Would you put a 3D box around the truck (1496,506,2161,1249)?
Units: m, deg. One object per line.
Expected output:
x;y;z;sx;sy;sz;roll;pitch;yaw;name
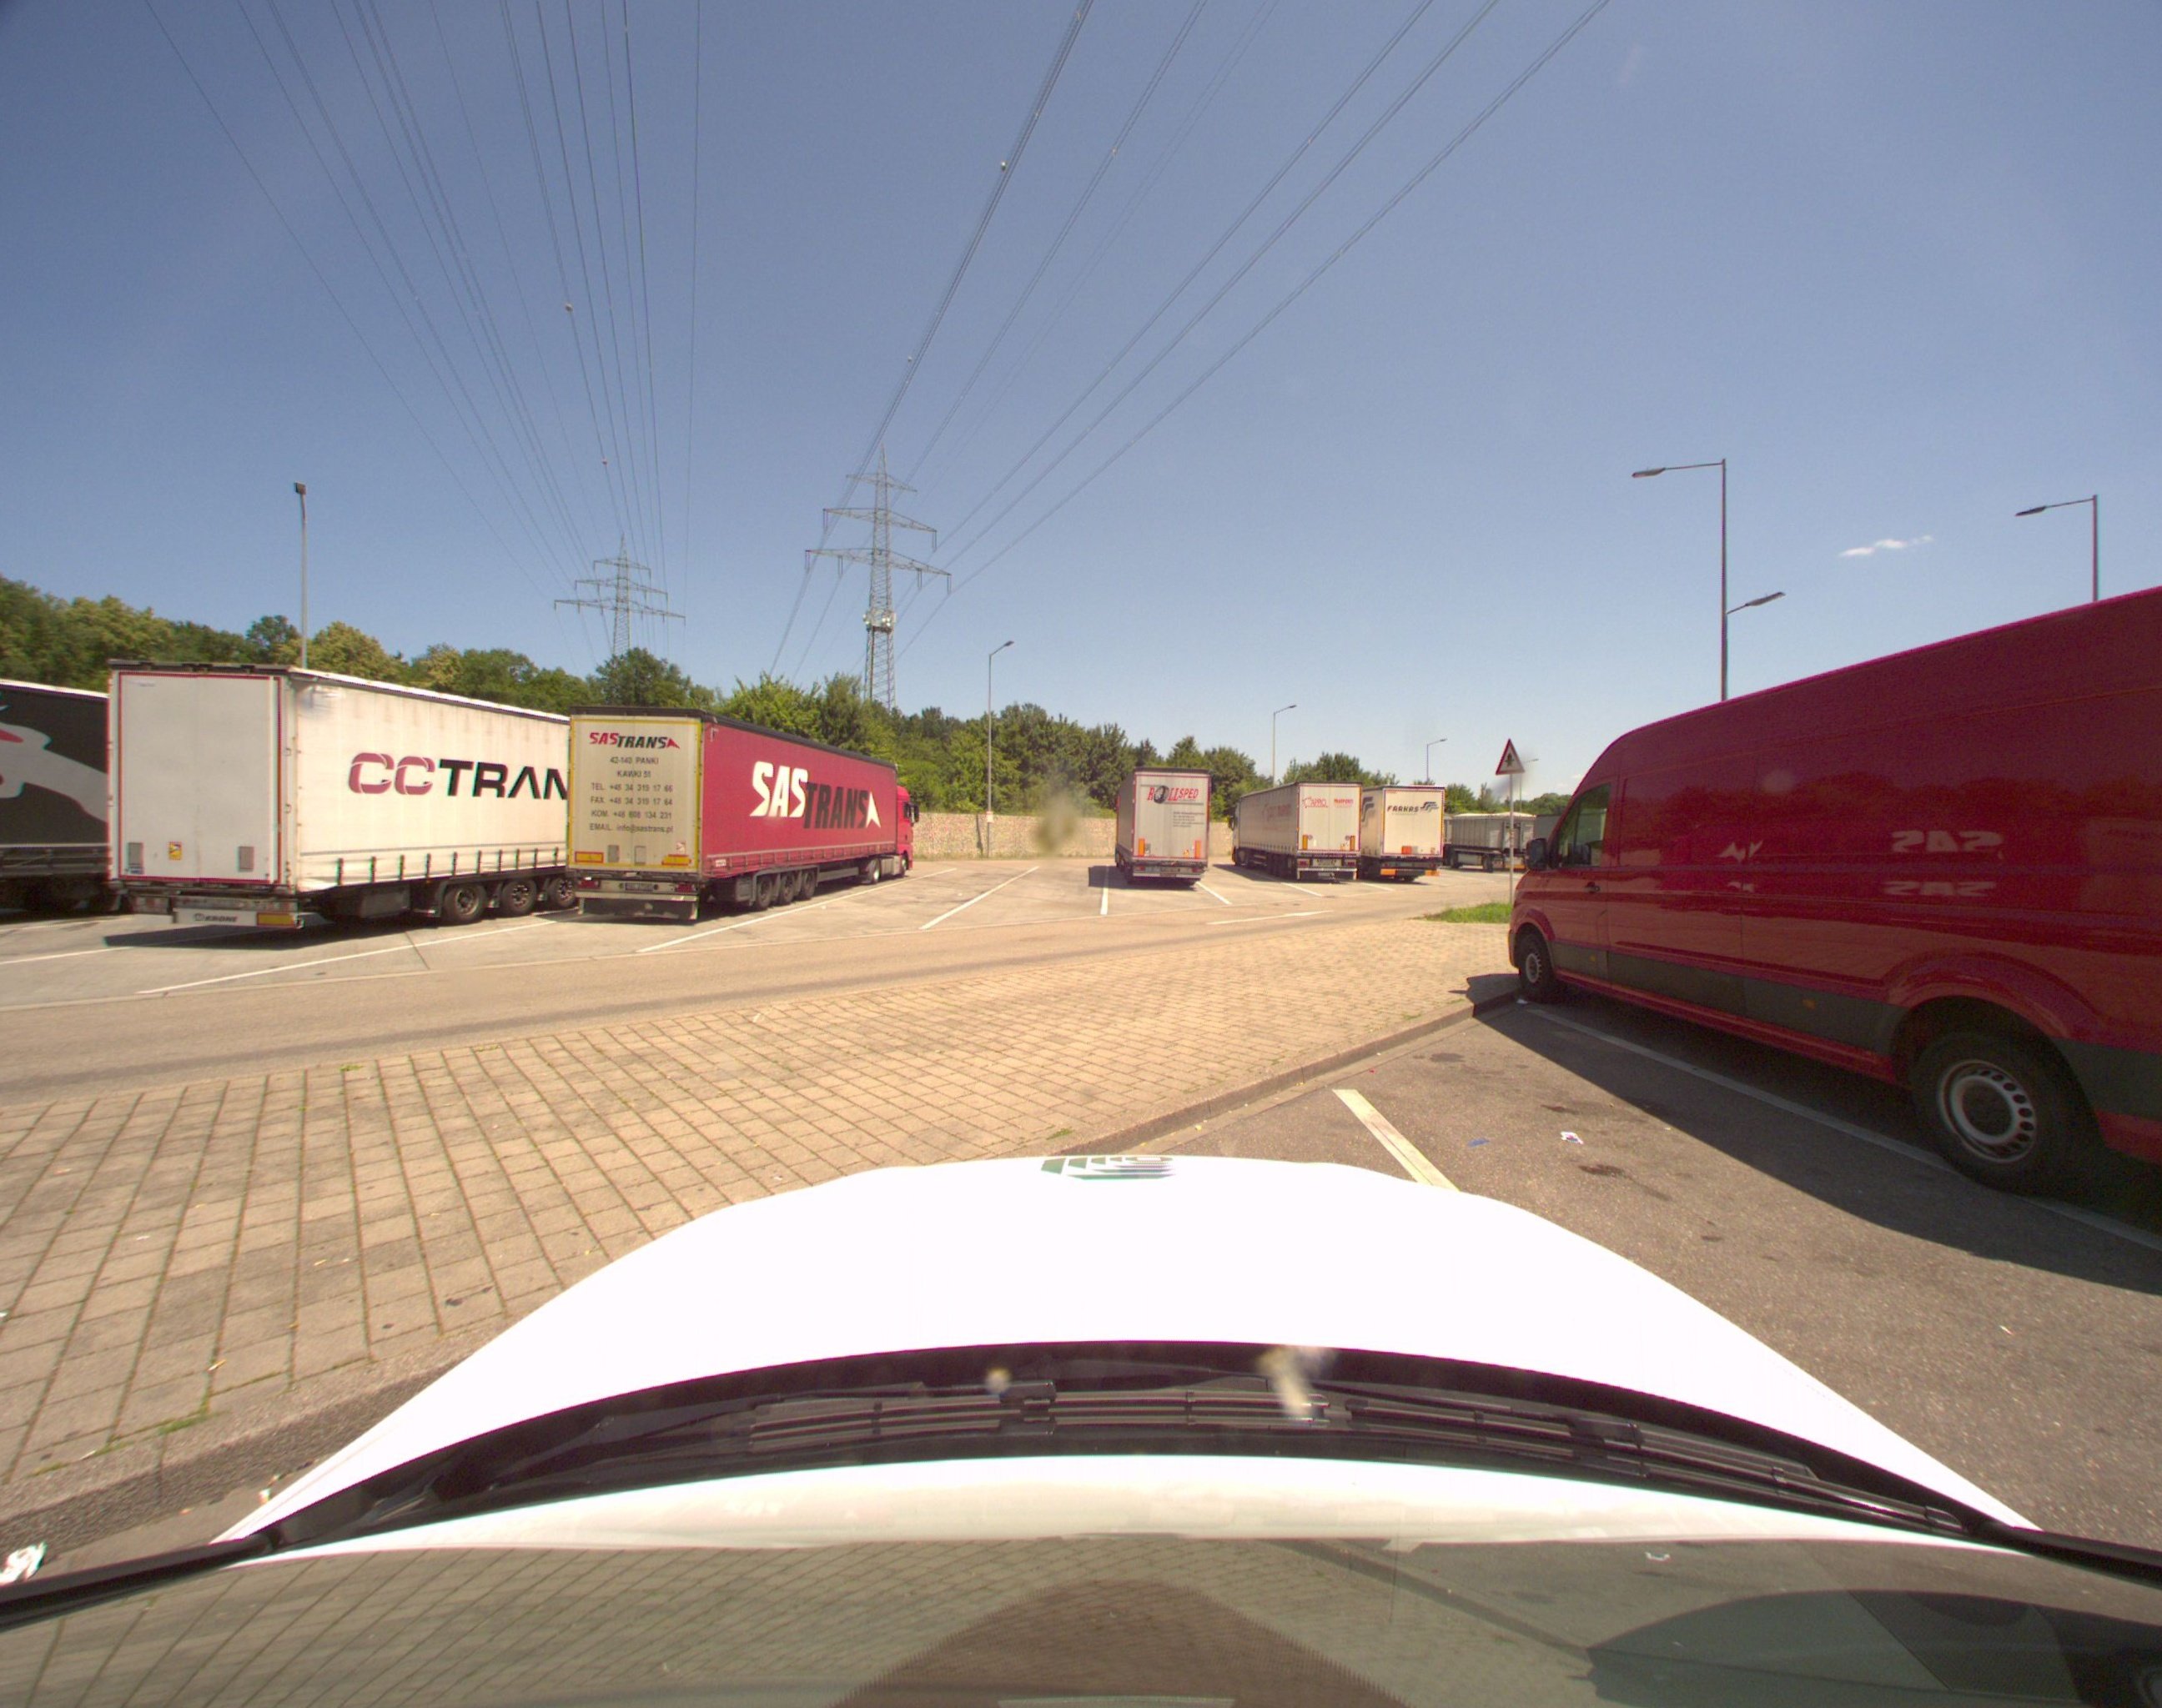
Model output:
5.141;0.081;5.470;2.001;2.651;6.466;-1;0;6;truck

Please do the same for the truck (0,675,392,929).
-18.551;-0.941;15.847;2.696;4.070;8.694;1;2;2;truck

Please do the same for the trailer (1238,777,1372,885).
9.979;-1.117;38.317;2.847;4.109;13.770;1;2;2;trailer

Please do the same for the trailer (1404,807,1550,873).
24.440;-0.989;51.516;2.847;3.599;13.770;1;2;2;trailer

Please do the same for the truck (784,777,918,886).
-7.833;-0.795;28.561;2.801;3.362;5.977;1;2;2;truck

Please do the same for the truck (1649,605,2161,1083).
8.000;-0.069;6.902;2.406;2.906;6.466;-1;0;6;truck

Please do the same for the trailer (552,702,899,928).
-8.048;-0.928;21.744;2.811;4.070;13.770;1;2;2;trailer

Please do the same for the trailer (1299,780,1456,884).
13.608;-1.091;39.241;2.847;4.109;13.770;1;2;2;trailer

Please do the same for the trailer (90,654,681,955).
-12.162;-0.843;16.440;2.696;4.101;10.395;1;2;2;trailer

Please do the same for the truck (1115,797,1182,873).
3.138;-0.938;39.428;2.855;3.362;5.977;1;2;2;truck

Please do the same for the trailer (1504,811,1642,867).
38.221;-1.288;64.197;2.847;3.904;13.770;1;2;2;trailer

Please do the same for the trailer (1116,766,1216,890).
3.047;-1.047;33.226;2.848;3.971;13.767;1;2;1;trailer

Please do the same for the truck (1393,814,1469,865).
24.626;-1.077;57.613;2.855;3.362;5.977;1;2;2;truck

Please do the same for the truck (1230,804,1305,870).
10.178;-0.975;45.081;2.855;3.362;5.977;1;2;2;truck
